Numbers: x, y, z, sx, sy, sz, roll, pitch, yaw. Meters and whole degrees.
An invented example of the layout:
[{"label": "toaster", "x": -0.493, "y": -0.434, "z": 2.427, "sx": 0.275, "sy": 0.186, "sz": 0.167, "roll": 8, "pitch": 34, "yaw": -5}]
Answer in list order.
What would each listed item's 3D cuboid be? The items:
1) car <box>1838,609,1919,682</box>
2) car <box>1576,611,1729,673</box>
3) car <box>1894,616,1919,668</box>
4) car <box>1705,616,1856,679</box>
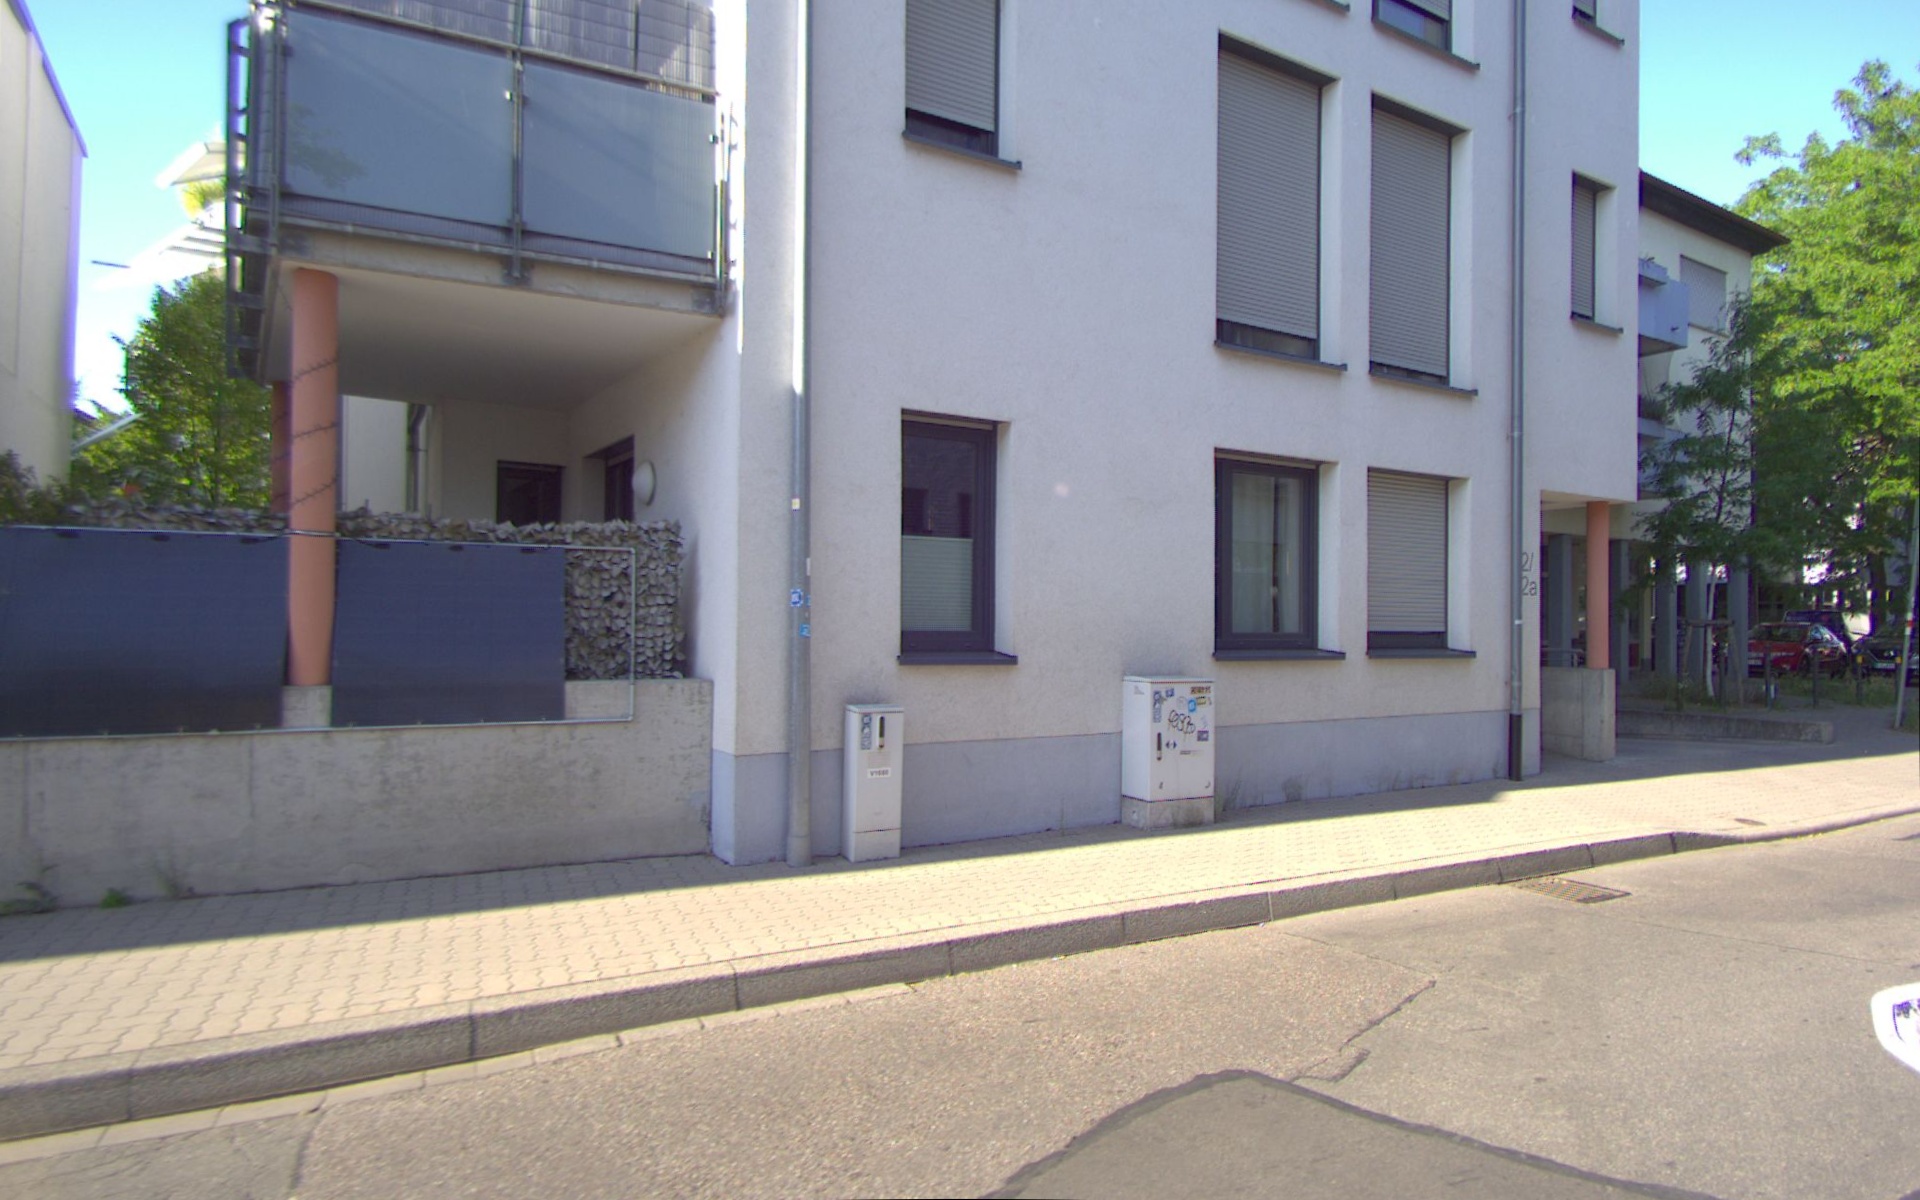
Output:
[{"label": "car", "x": 23.475, "y": 1.064, "z": 24.466, "sx": 4.569, "sy": 1.608, "sz": 1.848, "roll": 1, "pitch": 2, "yaw": -32}, {"label": "car", "x": 20.003, "y": 1.163, "z": 28.970, "sx": 4.567, "sy": 1.608, "sz": 1.848, "roll": 1, "pitch": 2, "yaw": -30}, {"label": "car", "x": 31.856, "y": 1.368, "z": 32.119, "sx": 3.627, "sy": 1.608, "sz": 1.849, "roll": 1, "pitch": 2, "yaw": -29}, {"label": "car", "x": 21.593, "y": 1.190, "z": 26.414, "sx": 4.094, "sy": 1.468, "sz": 1.710, "roll": 1, "pitch": 2, "yaw": -30}]
